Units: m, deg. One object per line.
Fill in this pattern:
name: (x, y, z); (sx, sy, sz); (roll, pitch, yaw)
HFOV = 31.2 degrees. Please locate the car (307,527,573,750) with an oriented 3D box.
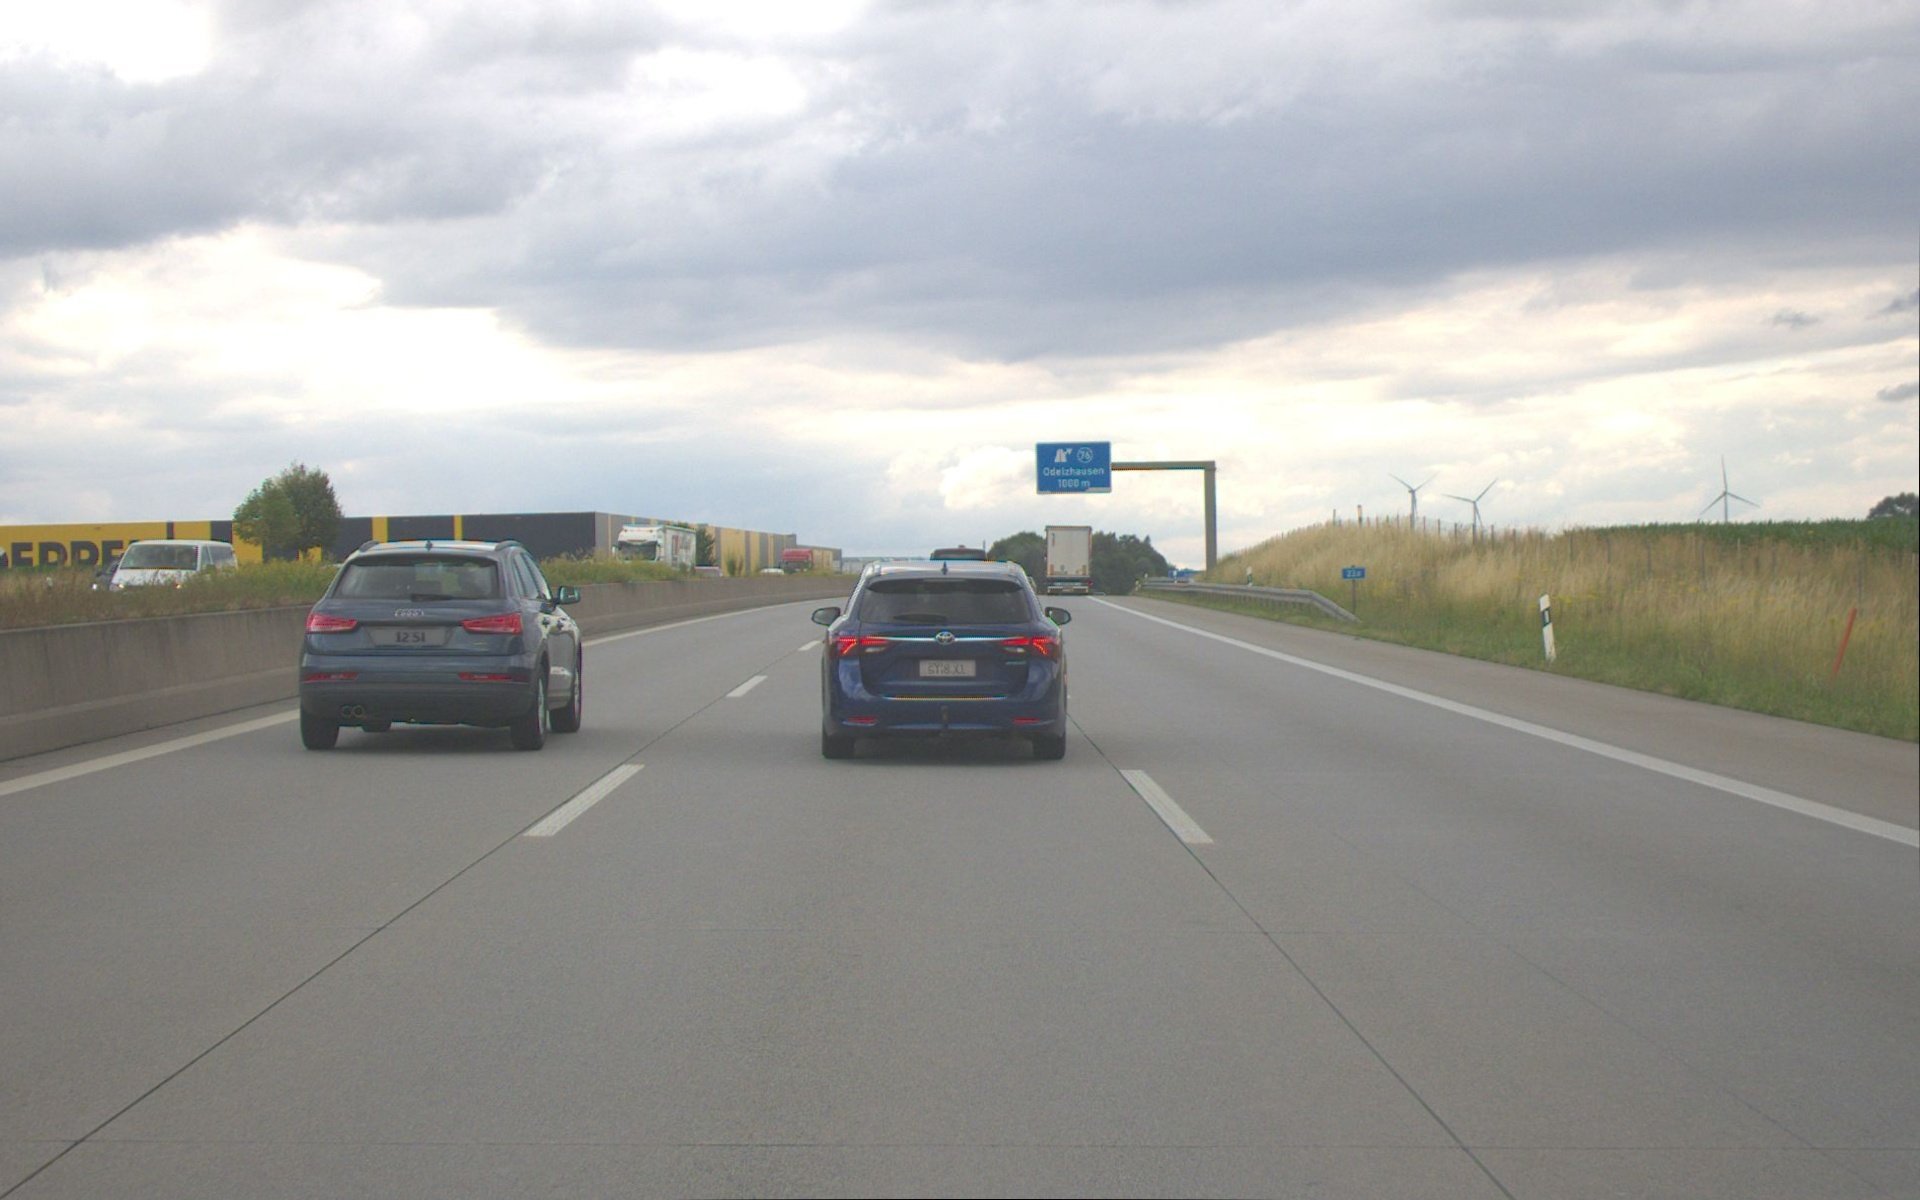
car: (-4.049, 0.240, 27.441); (1.792, 1.590, 5.158); (1, 1, -5)

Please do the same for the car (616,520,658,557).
car: (-18.487, -3.508, 197.071); (1.993, 2.007, 4.000); (1, 0, 0)

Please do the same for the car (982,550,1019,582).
car: (2.575, -2.136, 218.706); (1.993, 2.007, 4.000); (1, 0, -4)

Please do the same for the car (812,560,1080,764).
car: (-0.180, 0.412, 25.913); (1.774, 1.408, 4.001); (0, 1, -4)

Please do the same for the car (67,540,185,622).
car: (-21.164, -0.465, 87.367); (1.993, 2.007, 4.000); (1, 0, 0)

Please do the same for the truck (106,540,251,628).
truck: (-16.798, -0.343, 74.099); (1.947, 1.800, 5.127); (1, 0, 0)

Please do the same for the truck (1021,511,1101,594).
truck: (5.907, -2.738, 203.154); (3.950, 4.740, 12.076); (1, 0, -1)

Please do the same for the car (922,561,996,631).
car: (-0.060, -0.124, 101.968); (1.993, 2.007, 4.000); (1, 0, -2)
